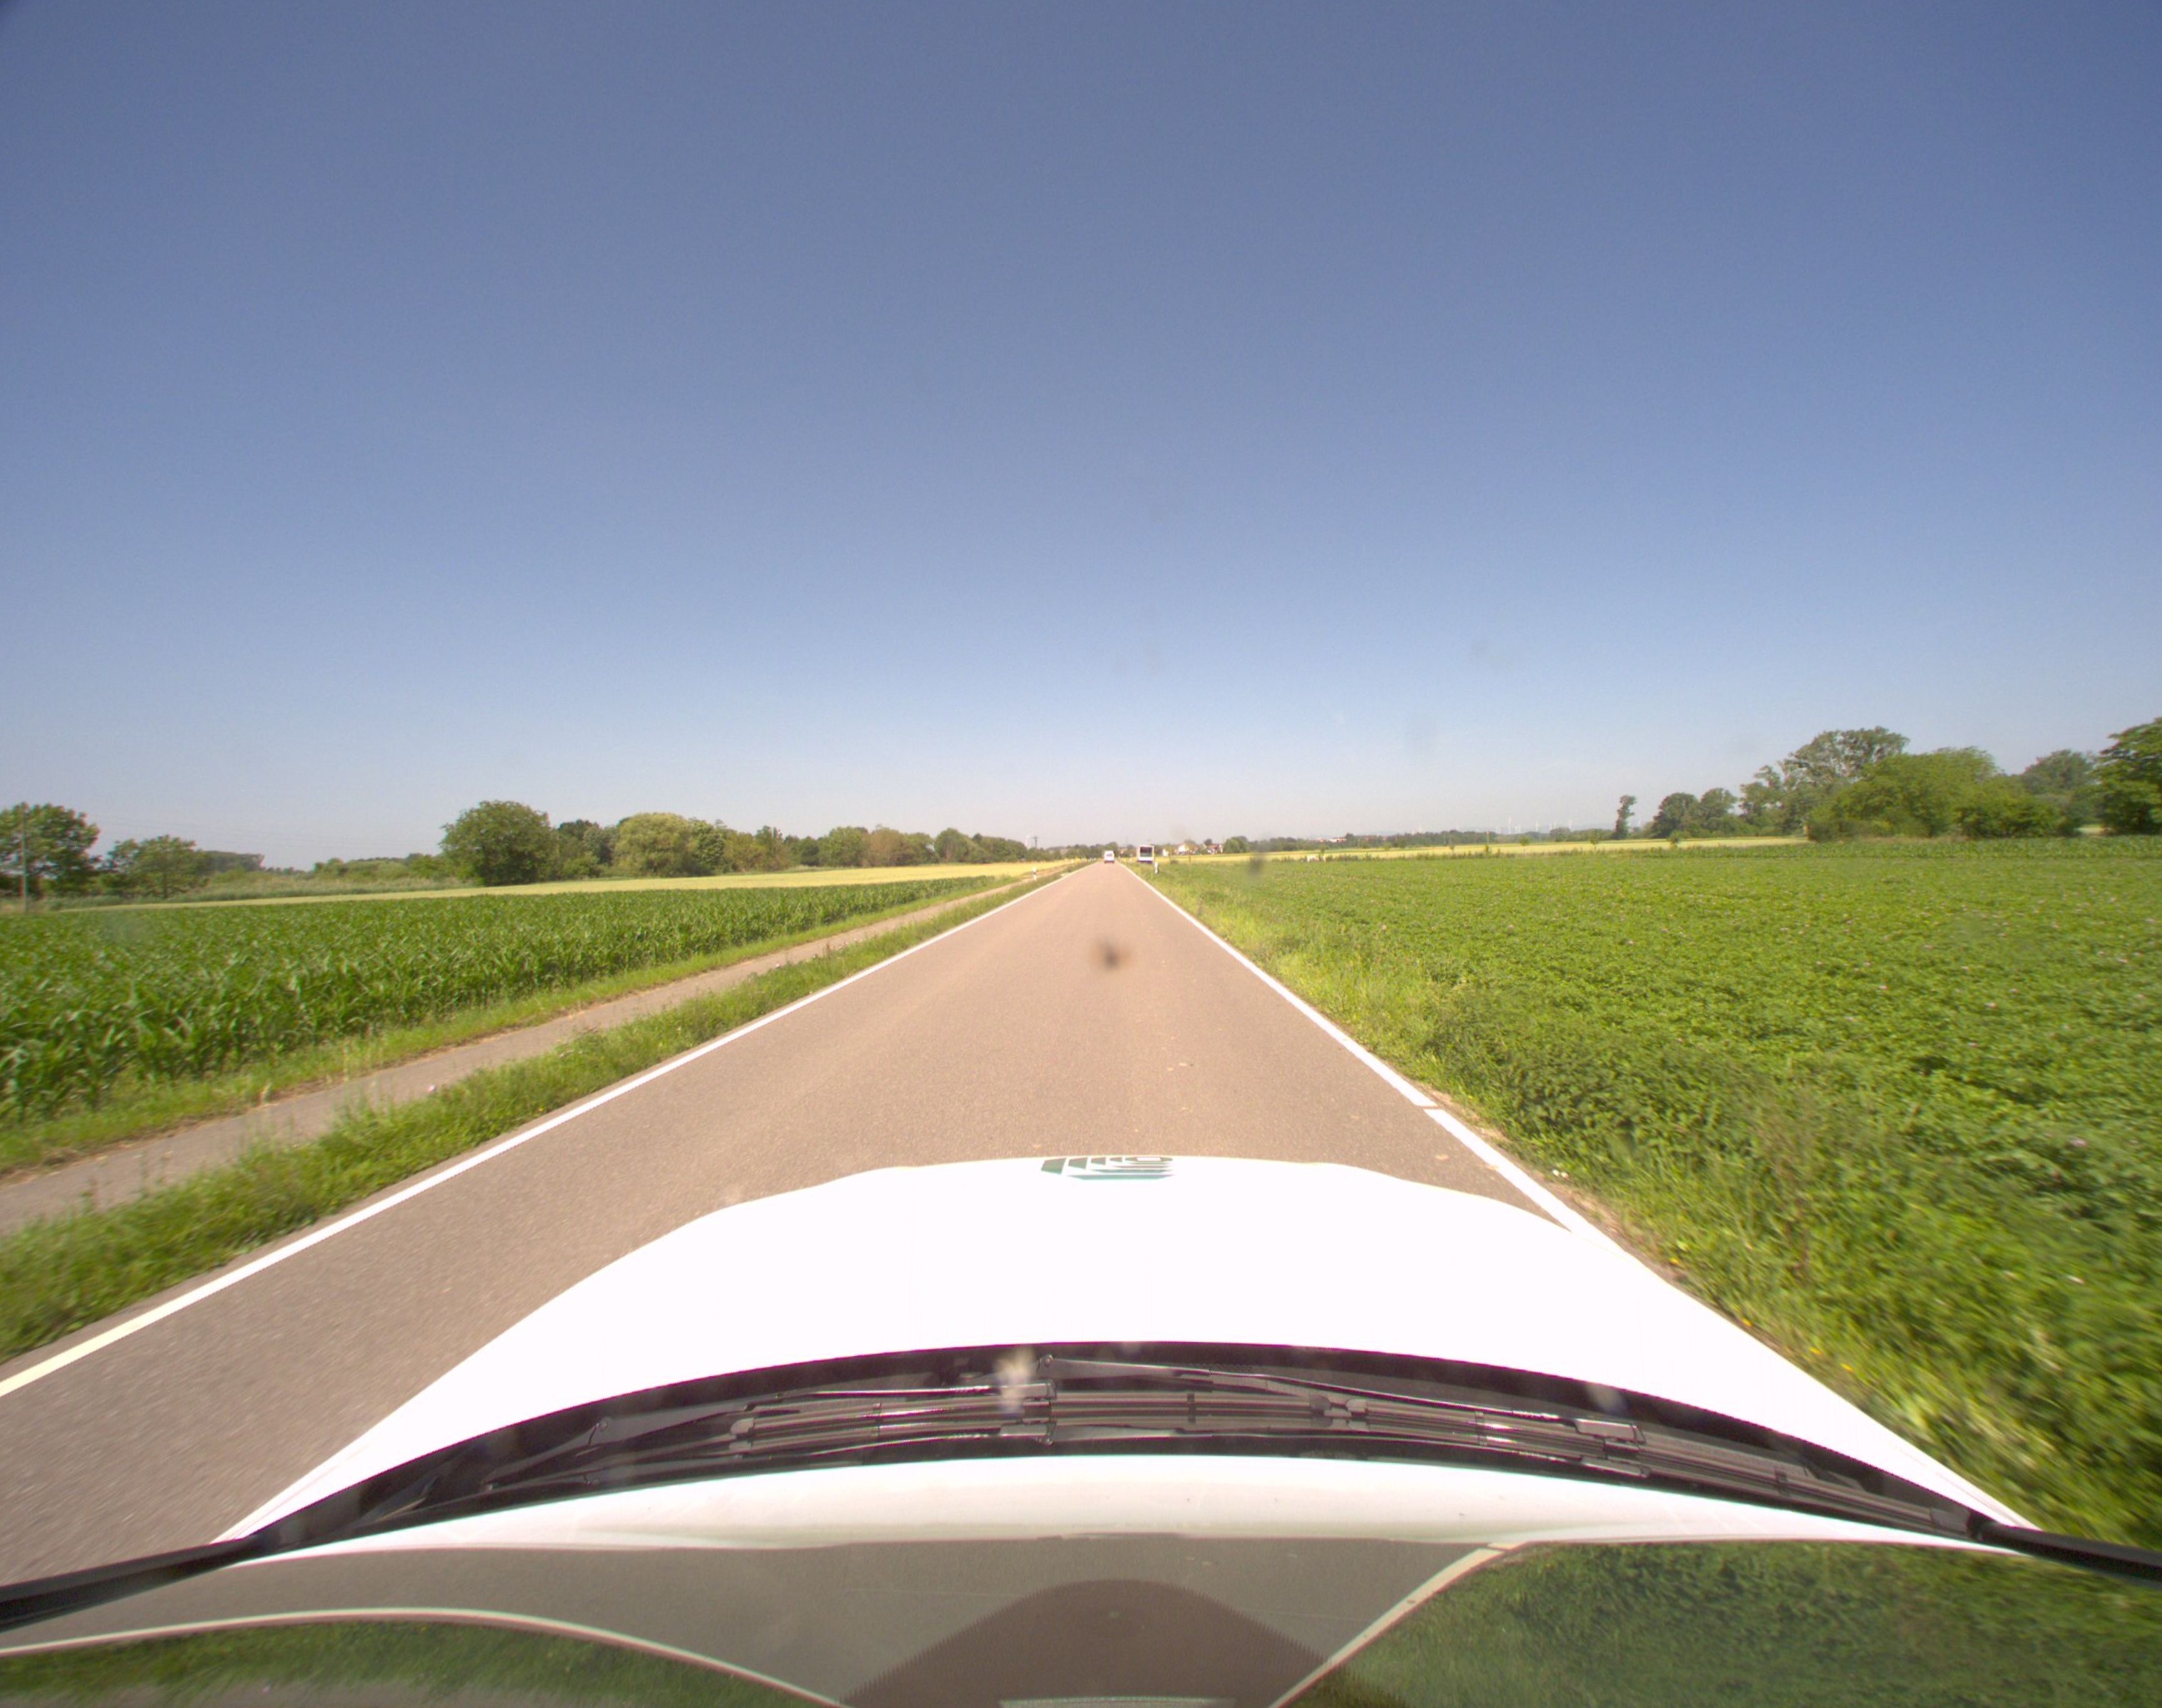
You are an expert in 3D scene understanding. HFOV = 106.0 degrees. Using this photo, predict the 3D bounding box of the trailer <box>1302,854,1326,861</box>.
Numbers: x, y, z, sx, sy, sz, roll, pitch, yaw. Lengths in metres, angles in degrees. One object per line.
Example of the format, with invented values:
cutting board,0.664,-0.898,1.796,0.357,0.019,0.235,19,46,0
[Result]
trailer,36.613,0.551,128.204,3.560,1.189,1.670,0,0,14

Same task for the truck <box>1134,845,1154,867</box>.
truck,9.149,0.311,118.340,2.328,2.942,7.007,1,0,0

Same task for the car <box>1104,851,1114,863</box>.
car,5.775,0.585,167.678,2.099,2.304,5.498,0,0,2
